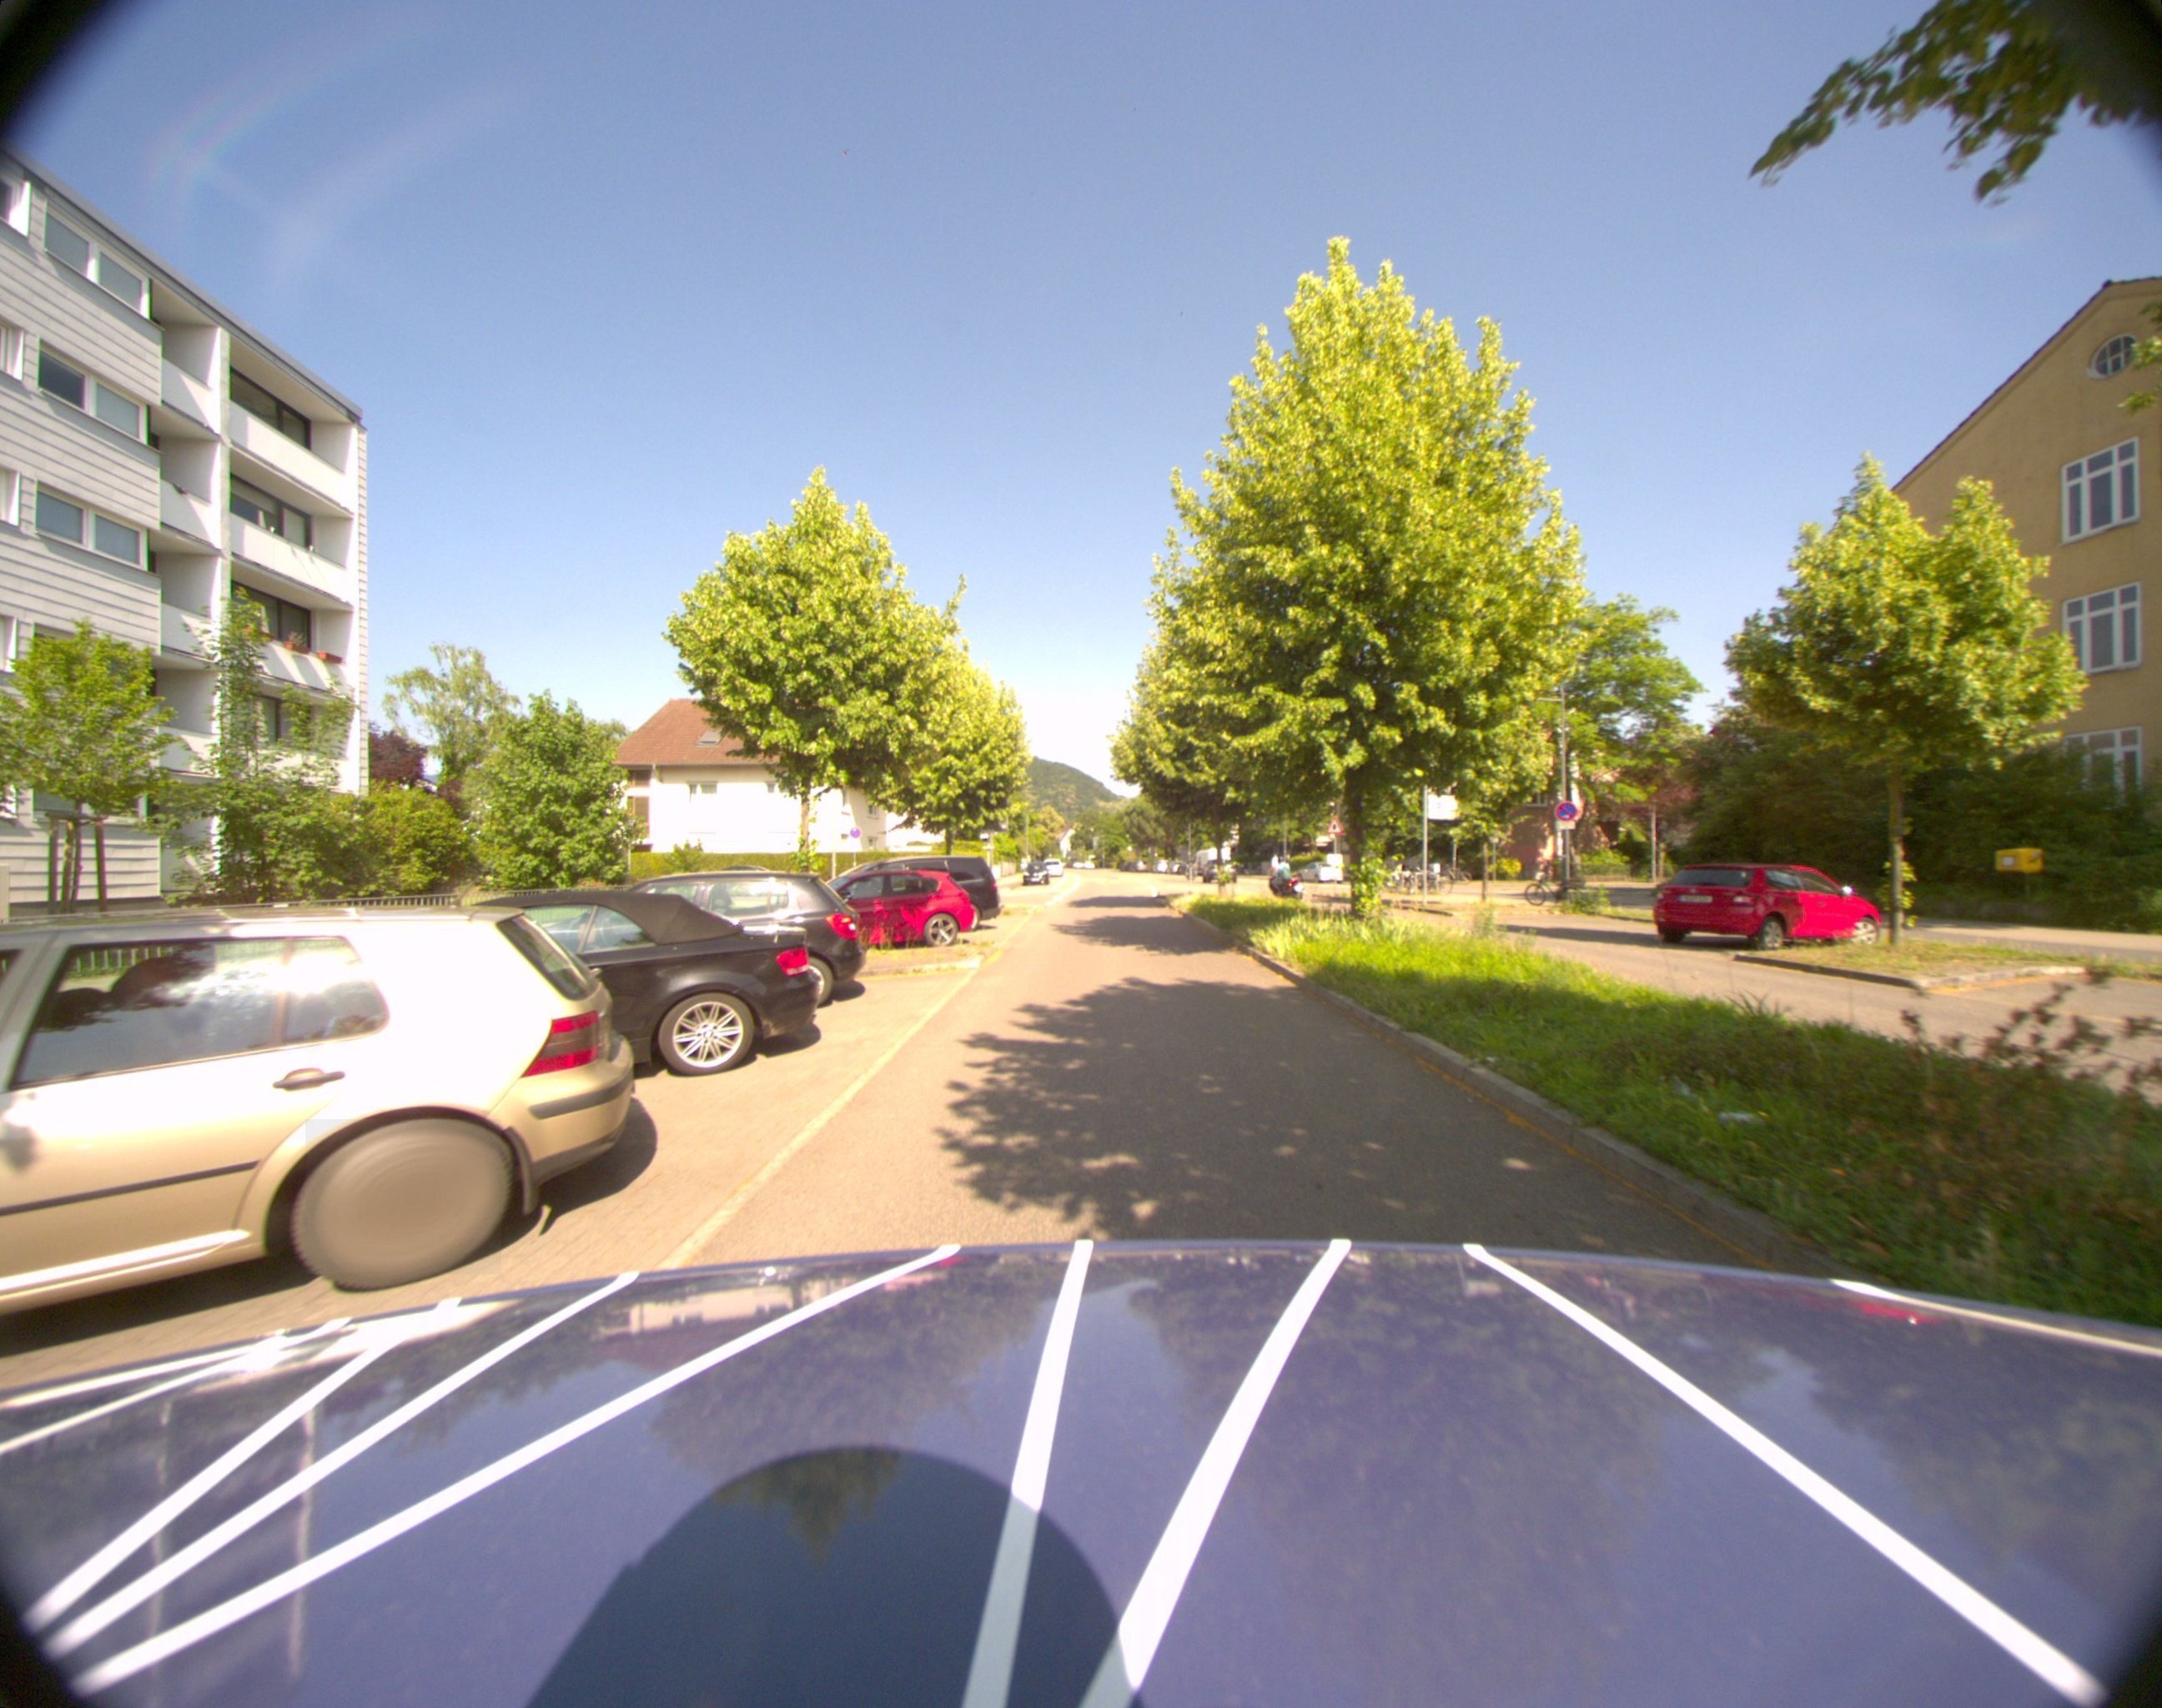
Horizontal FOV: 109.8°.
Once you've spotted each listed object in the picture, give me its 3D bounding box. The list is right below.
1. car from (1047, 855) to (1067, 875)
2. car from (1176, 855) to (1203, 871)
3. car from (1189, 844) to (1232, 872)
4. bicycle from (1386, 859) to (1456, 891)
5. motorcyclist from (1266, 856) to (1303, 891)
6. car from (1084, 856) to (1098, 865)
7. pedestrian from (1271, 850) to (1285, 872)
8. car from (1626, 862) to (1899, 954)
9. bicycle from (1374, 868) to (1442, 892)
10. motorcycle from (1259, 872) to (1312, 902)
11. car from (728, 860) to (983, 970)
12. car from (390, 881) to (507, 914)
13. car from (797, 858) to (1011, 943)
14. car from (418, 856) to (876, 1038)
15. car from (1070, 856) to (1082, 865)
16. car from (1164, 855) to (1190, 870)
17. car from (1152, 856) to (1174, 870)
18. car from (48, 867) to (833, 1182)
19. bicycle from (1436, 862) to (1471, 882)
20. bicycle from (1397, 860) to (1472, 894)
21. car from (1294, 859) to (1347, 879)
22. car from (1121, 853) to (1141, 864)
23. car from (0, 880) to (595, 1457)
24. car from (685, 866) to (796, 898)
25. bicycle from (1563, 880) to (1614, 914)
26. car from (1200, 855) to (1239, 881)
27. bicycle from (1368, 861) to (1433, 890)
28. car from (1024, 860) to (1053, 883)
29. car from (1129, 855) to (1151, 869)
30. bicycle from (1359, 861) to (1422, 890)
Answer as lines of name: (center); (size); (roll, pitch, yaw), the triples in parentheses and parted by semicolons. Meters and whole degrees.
car: (-2.358, 1.023, 74.593); (1.767, 1.816, 4.597); (-2, 1, -2)
car: (10.951, 0.951, 76.756); (1.725, 1.549, 3.998); (1, -1, -7)
car: (12.004, 0.438, 70.953); (2.096, 2.481, 5.947); (1, -1, -10)
bicycle: (13.748, 0.845, 30.768); (2.522, 1.249, 0.739); (1, 0, -2)
motorcyclist: (7.342, 0.701, 27.441); (0.904, 1.214, 1.061); (-1, 0, -11)
car: (1.824, 1.184, 138.178); (1.960, 1.543, 3.997); (-1, 0, -8)
pedestrian: (16.458, 0.573, 63.512); (0.976, 1.769, 0.725); (0, 0, -3)
car: (12.221, 0.897, 13.674); (4.004, 1.458, 1.997); (1, -1, -20)
bicycle: (13.712, 1.093, 31.901); (2.551, 0.981, 0.739); (1, 0, -2)
motorcycle: (7.345, 1.168, 27.405); (0.926, 0.987, 2.232); (-1, 0, -11)
car: (-3.987, 0.956, 13.591); (4.007, 1.630, 1.876); (-1, 1, -32)
car: (-28.947, 1.991, 34.846); (3.997, 1.447, 1.649); (0, -1, 0)
car: (-3.854, 0.912, 16.712); (4.127, 1.630, 2.039); (0, 0, -32)
car: (-4.389, 0.853, 8.390); (4.003, 1.630, 1.798); (0, 0, -18)
car: (-0.977, 1.267, 150.698); (2.000, 1.608, 3.997); (0, 0, -8)
car: (10.270, 0.959, 81.598); (1.725, 1.549, 4.670); (1, -1, -7)
car: (9.428, 1.041, 87.706); (1.725, 1.549, 3.998); (1, -1, -7)
car: (-4.101, 0.936, 5.731); (4.006, 1.630, 1.749); (0, -1, -27)
bicycle: (20.705, 0.992, 42.230); (1.711, 1.074, 0.379); (-1, -1, 41)
bicycle: (13.749, 0.888, 29.584); (2.551, 1.249, 0.739); (0, 0, -2)
car: (15.501, 0.957, 49.365); (1.725, 1.259, 3.998); (1, -1, -7)
car: (6.812, 0.668, 104.161); (1.847, 1.448, 4.191); (1, -1, -9)
car: (-4.123, 0.975, 2.670); (4.007, 1.630, 1.748); (0, 0, -34)
car: (-15.248, 1.255, 34.166); (4.125, 1.389, 1.812); (0, -3, 1)
bicycle: (14.387, 1.202, 21.581); (0.522, 0.898, 1.270); (1, 1, -4)
car: (8.575, 0.822, 47.325); (1.745, 1.538, 4.073); (1, 0, 2)
bicycle: (13.926, 0.927, 33.170); (2.551, 1.232, 0.739); (1, 0, -2)
car: (-2.707, 1.091, 48.989); (1.621, 1.382, 4.000); (-1, 0, 0)
car: (7.626, 1.071, 98.659); (1.847, 1.754, 4.582); (1, -1, -9)
bicycle: (13.909, 0.955, 34.183); (2.551, 1.249, 0.739); (1, 0, -2)
